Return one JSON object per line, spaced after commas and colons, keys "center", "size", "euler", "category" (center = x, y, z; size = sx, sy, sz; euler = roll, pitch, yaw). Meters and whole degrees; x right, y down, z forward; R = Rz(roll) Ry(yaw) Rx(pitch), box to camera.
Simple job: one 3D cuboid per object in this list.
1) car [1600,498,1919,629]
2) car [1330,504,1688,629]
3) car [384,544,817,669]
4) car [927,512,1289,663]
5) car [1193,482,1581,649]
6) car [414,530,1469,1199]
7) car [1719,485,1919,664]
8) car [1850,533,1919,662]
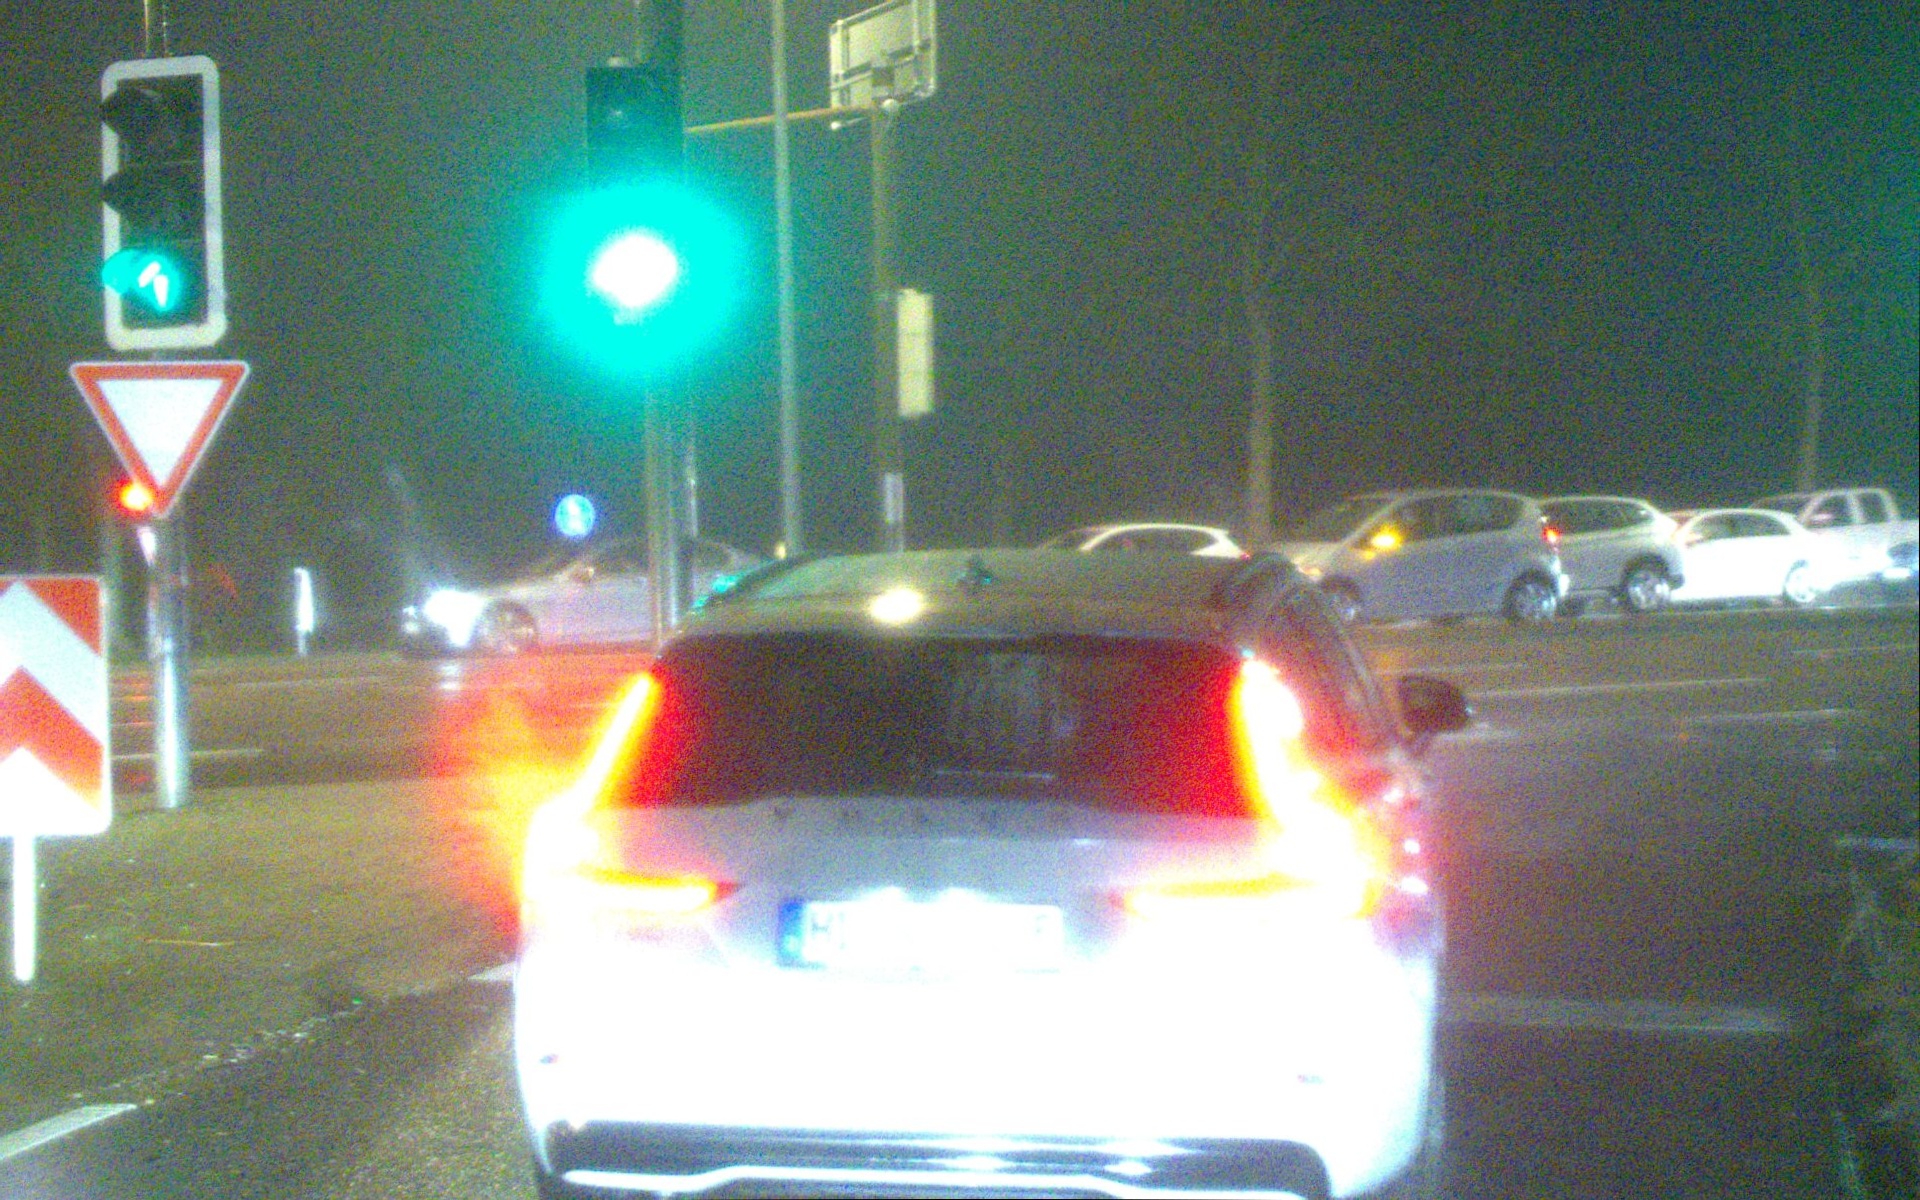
{"center": [11.338, -0.506, 48.729], "size": [4.236, 1.793, 1.804], "euler": [0, 0, -27], "category": "car"}
{"center": [6.756, -0.407, 42.305], "size": [4.043, 1.482, 1.718], "euler": [0, 0, -23], "category": "car"}
{"center": [-4.246, 0.068, 40.746], "size": [4.786, 1.422, 1.766], "euler": [0, 0, -26], "category": "car"}
{"center": [1.890, -0.158, 43.701], "size": [4.270, 1.842, 1.766], "euler": [0, 0, -27], "category": "car"}
{"center": [4.714, -0.409, 37.967], "size": [3.888, 1.719, 1.766], "euler": [-2, 2, -25], "category": "car"}
{"center": [0.256, 0.583, 8.082], "size": [1.797, 1.447, 4.267], "euler": [0, 2, 9], "category": "car"}
{"center": [14.960, -0.396, 54.339], "size": [5.589, 2.701, 2.257], "euler": [0, 0, -26], "category": "car"}
{"center": [15.301, -0.035, 50.606], "size": [4.110, 1.842, 1.766], "euler": [0, 0, -27], "category": "car"}
